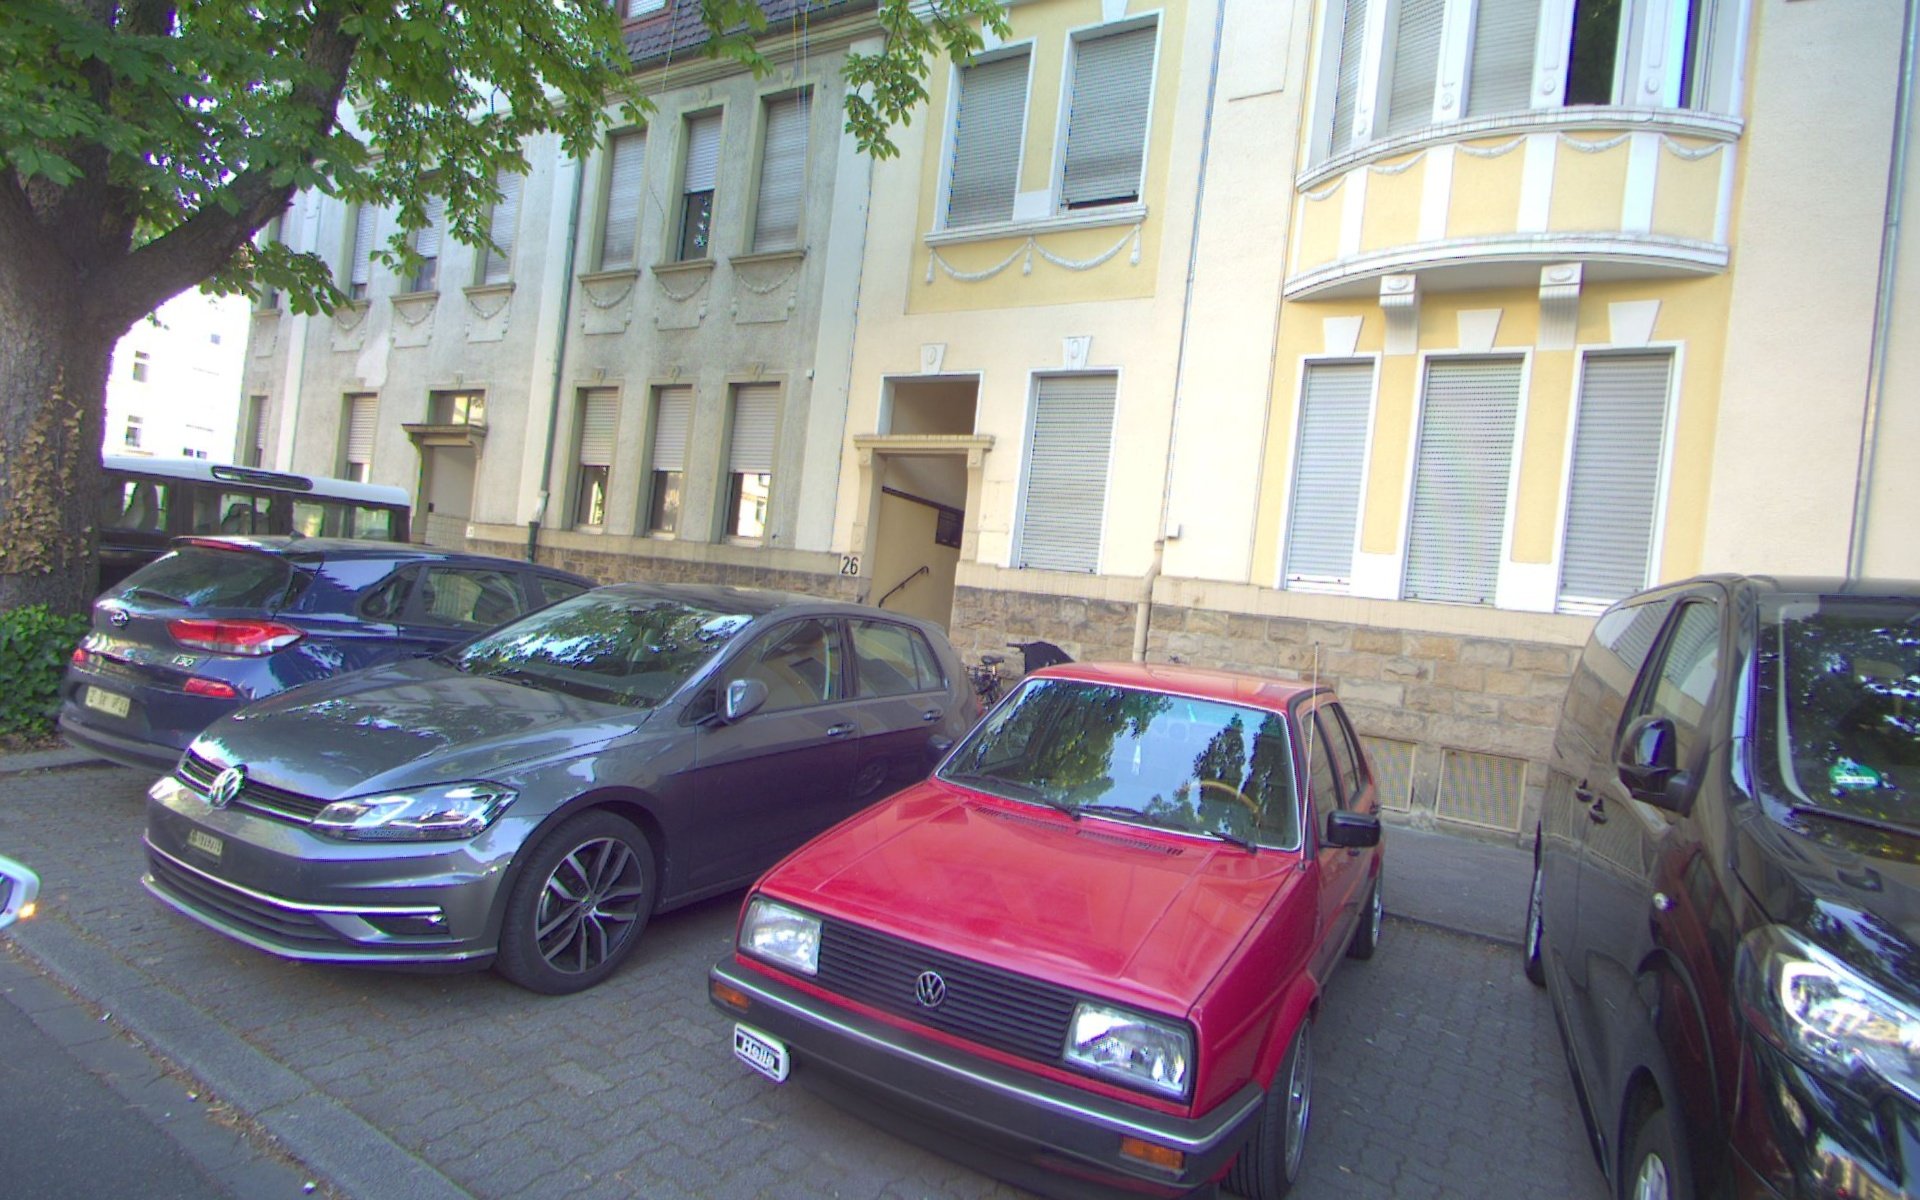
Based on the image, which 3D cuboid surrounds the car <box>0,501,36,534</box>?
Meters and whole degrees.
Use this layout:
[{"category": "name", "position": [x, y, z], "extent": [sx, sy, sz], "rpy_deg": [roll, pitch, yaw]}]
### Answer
[{"category": "car", "position": [-36.252, -3.226, 36.775], "extent": [1.357, 1.081, 3.370], "rpy_deg": [7, -1, 30]}]

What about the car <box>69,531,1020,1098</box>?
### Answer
[{"category": "car", "position": [-1.355, 0.644, 4.849], "extent": [1.600, 1.440, 4.054], "rpy_deg": [6, 0, 29]}]

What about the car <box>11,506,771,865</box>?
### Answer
[{"category": "car", "position": [-3.054, 0.410, 6.227], "extent": [1.600, 1.440, 3.754], "rpy_deg": [6, 0, 29]}]

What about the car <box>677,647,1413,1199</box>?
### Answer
[{"category": "car", "position": [0.843, 0.957, 4.230], "extent": [1.532, 1.337, 3.916], "rpy_deg": [6, 0, 29]}]

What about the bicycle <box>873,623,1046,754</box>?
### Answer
[{"category": "bicycle", "position": [-0.025, 0.875, 10.376], "extent": [1.675, 1.090, 0.500], "rpy_deg": [7, 2, 31]}]

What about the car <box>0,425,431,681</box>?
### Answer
[{"category": "car", "position": [-7.620, -0.386, 9.296], "extent": [1.762, 1.981, 4.496], "rpy_deg": [7, 1, 29]}]

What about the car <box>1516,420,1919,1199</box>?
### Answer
[{"category": "car", "position": [2.890, 0.893, 2.949], "extent": [1.848, 1.847, 4.829], "rpy_deg": [6, 0, 27]}]

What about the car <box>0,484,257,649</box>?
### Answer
[{"category": "car", "position": [-9.942, -0.389, 10.777], "extent": [1.680, 1.606, 3.488], "rpy_deg": [7, 0, 25]}]
